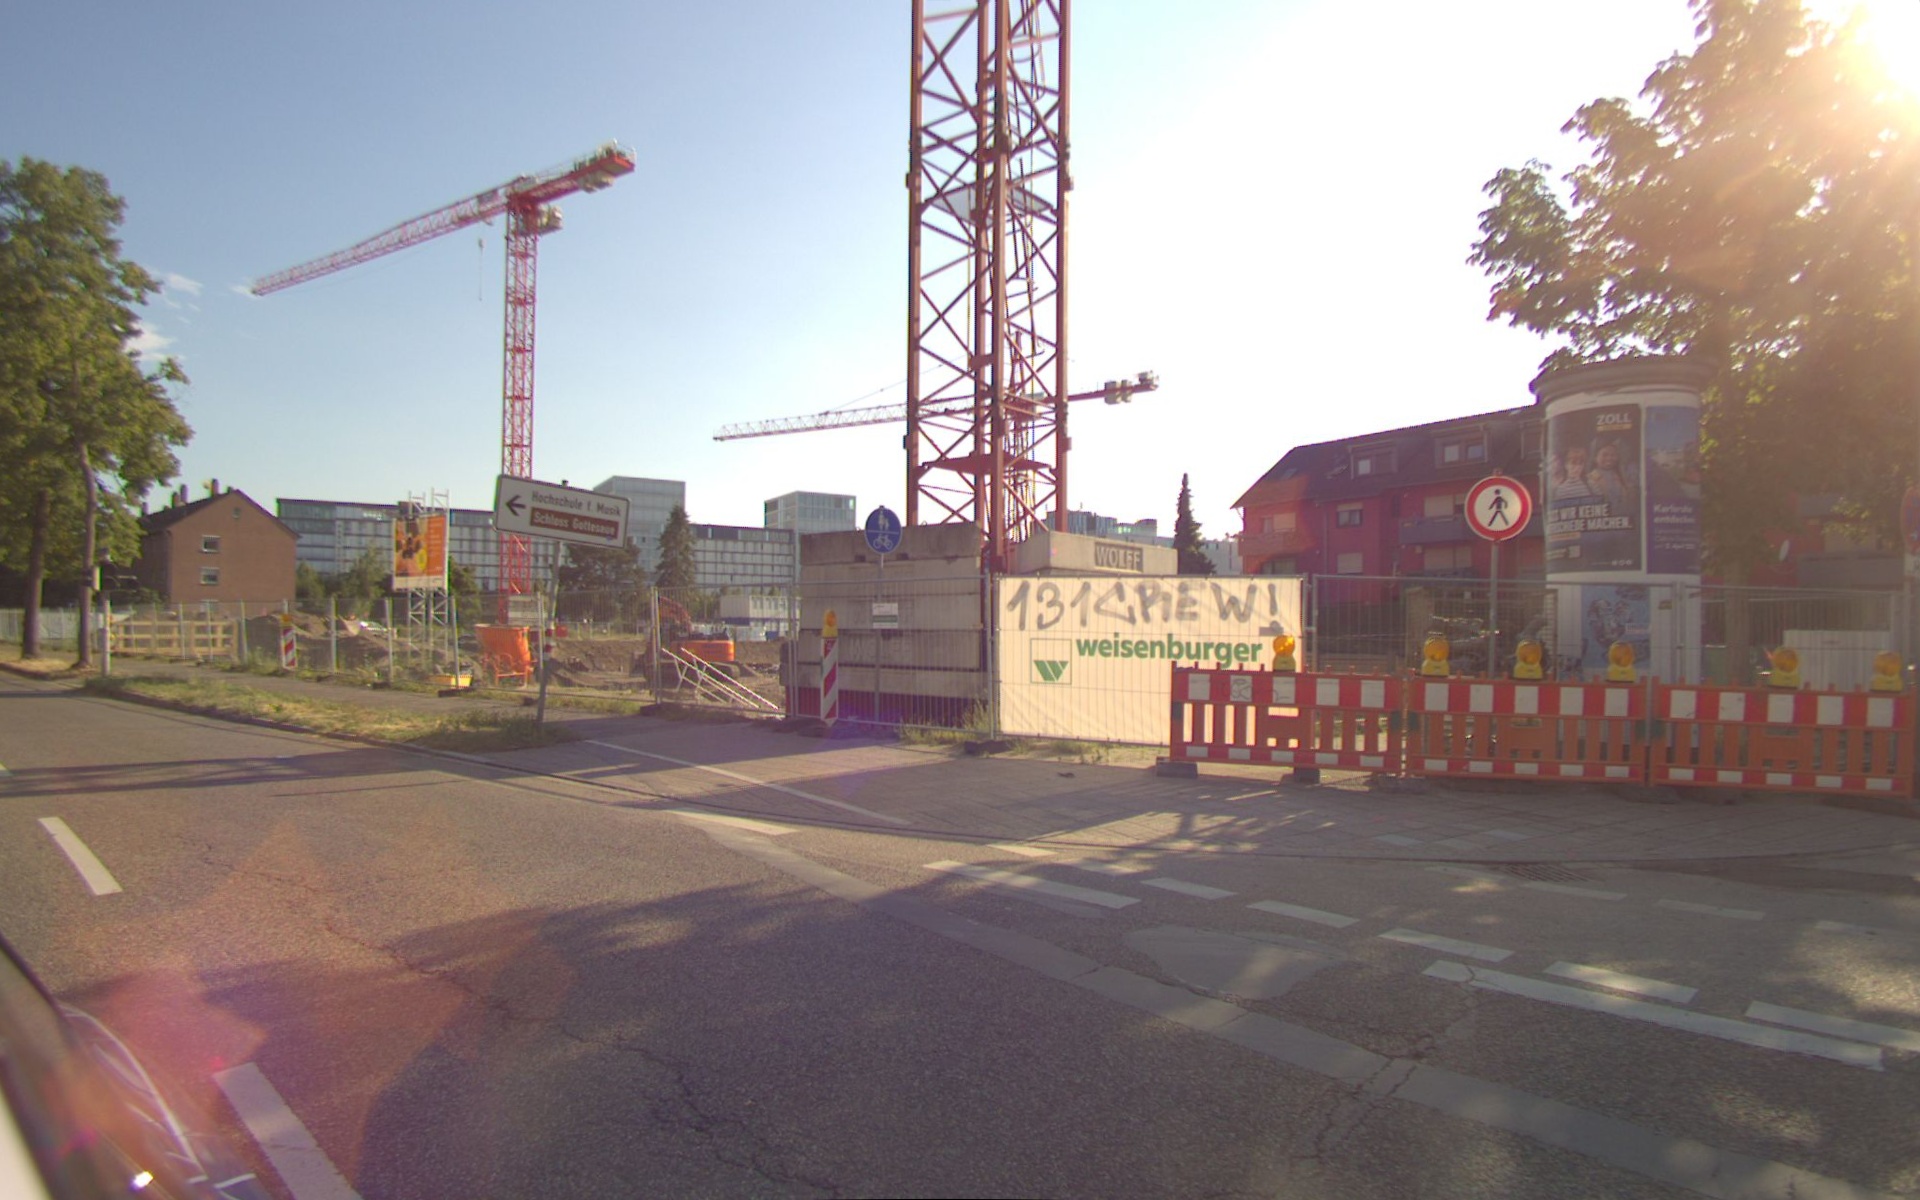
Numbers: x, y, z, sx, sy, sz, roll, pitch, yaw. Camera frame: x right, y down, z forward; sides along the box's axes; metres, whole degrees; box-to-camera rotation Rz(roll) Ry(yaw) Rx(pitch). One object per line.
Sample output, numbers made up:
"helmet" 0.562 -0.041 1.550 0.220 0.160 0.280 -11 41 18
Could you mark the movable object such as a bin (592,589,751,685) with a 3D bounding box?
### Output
"movable object such as a bin" -17.378 1.938 60.151 4.038 5.102 12.237 -1 1 -42
